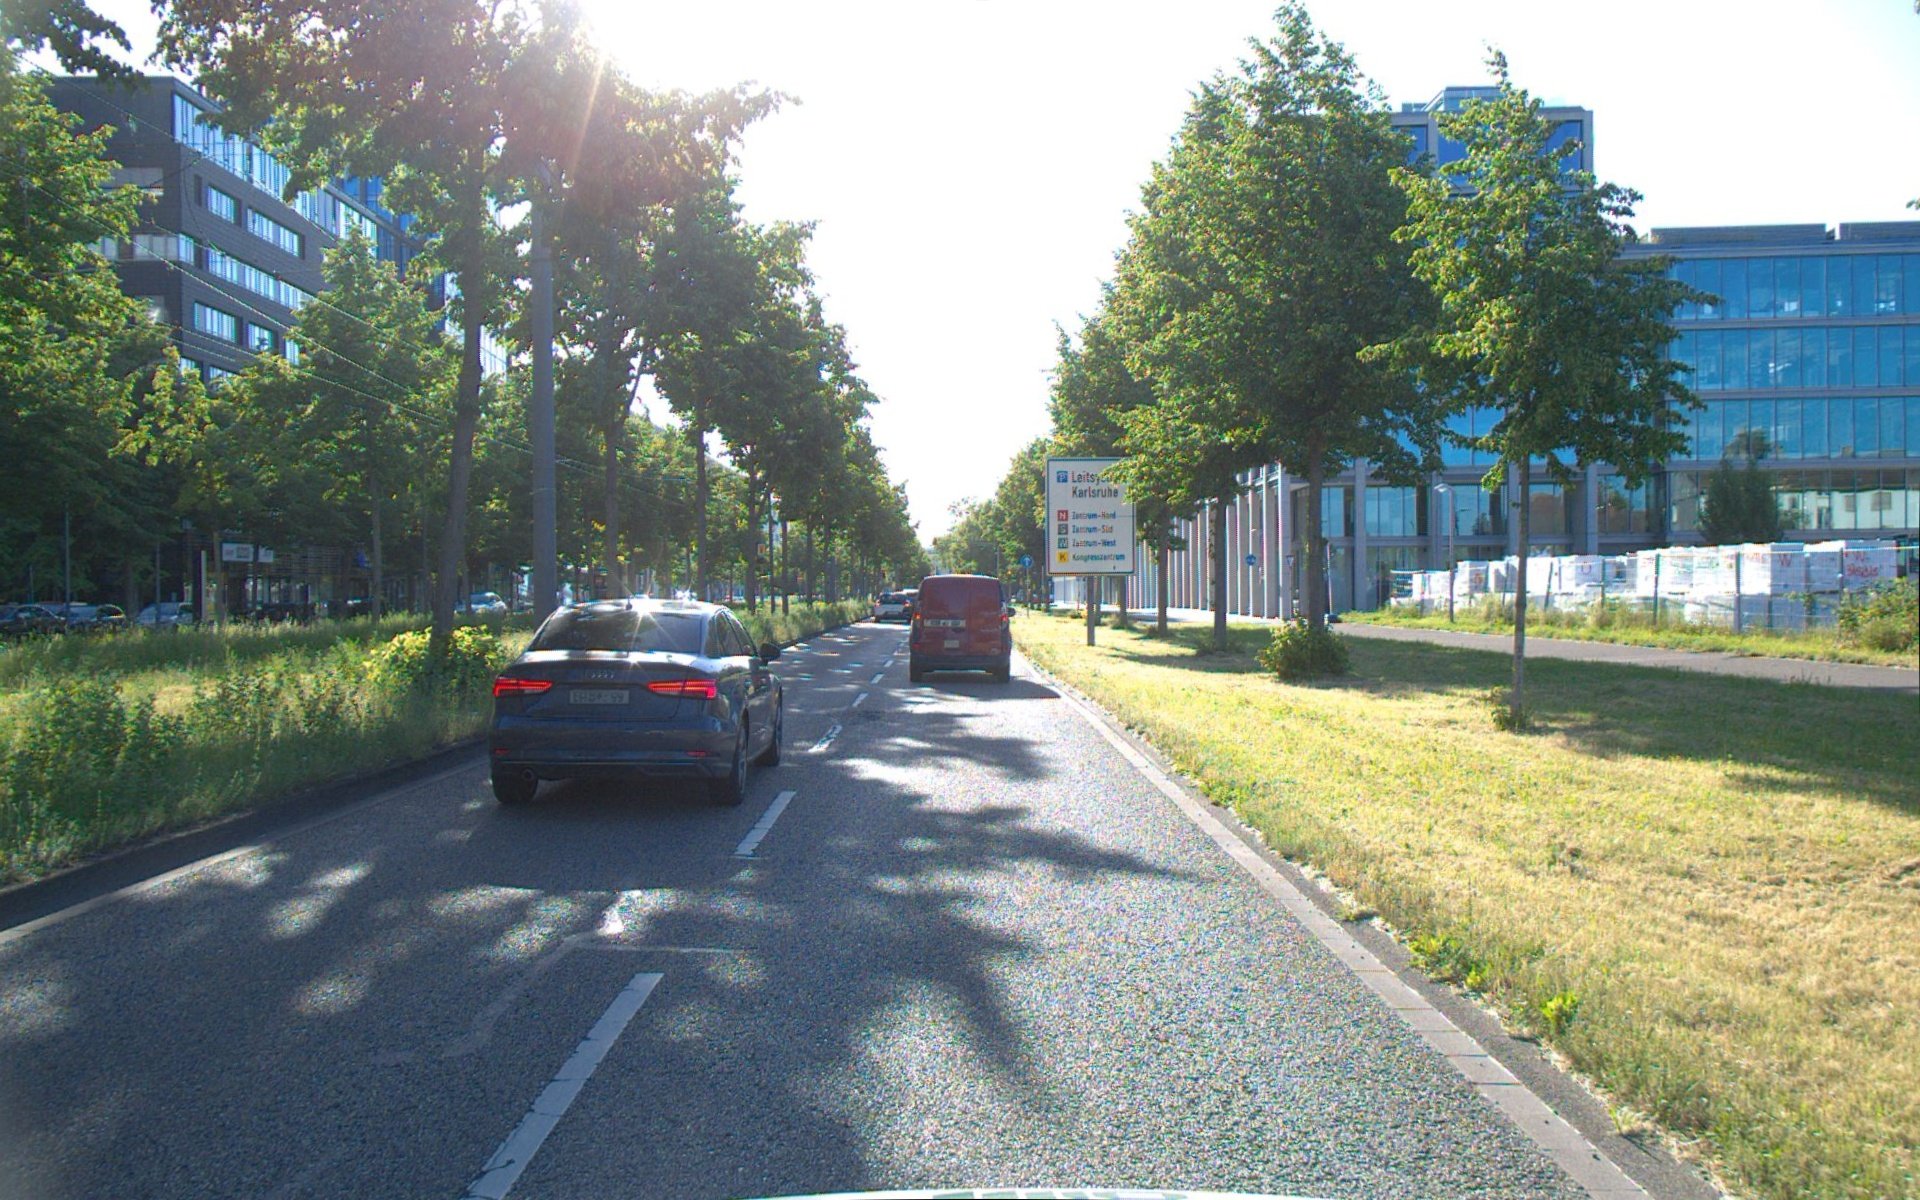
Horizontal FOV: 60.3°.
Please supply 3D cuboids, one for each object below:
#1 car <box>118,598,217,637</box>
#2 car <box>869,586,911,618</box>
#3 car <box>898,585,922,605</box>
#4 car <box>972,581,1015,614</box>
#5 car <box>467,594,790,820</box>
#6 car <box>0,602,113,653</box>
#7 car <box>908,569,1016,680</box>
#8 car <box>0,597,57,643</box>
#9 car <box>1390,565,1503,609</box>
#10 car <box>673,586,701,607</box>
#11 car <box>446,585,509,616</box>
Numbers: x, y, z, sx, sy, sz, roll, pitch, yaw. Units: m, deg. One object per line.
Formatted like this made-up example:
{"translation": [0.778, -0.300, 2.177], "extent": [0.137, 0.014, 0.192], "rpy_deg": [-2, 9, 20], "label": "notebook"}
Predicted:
{"translation": [-31.010, 0.672, 64.862], "extent": [1.680, 1.445, 4.545], "rpy_deg": [-1, 0, 0], "label": "car"}
{"translation": [-3.321, 0.074, 78.513], "extent": [1.903, 1.466, 3.998], "rpy_deg": [-1, 0, -3], "label": "car"}
{"translation": [-4.033, -0.405, 134.070], "extent": [1.805, 1.561, 3.940], "rpy_deg": [-1, 0, 0], "label": "car"}
{"translation": [1.557, -0.125, 78.290], "extent": [1.687, 1.450, 3.814], "rpy_deg": [1, 1, -4], "label": "car"}
{"translation": [-2.320, 0.675, 12.599], "extent": [1.686, 1.390, 4.145], "rpy_deg": [1, 1, -1], "label": "car"}
{"translation": [-35.127, 1.041, 64.395], "extent": [1.761, 1.808, 5.128], "rpy_deg": [1, 1, -2], "label": "car"}
{"translation": [-0.021, 0.394, 29.433], "extent": [1.761, 1.808, 3.999], "rpy_deg": [1, 0, -2], "label": "car"}
{"translation": [-31.565, 0.660, 53.990], "extent": [1.680, 1.445, 4.545], "rpy_deg": [-1, 0, 0], "label": "car"}
{"translation": [23.493, -0.636, 79.954], "extent": [4.959, 2.016, 1.940], "rpy_deg": [-1, 0, 6], "label": "car"}
{"translation": [-23.849, -0.292, 144.678], "extent": [1.761, 1.718, 4.320], "rpy_deg": [1, 1, -1], "label": "car"}
{"translation": [-22.802, 0.008, 78.295], "extent": [1.761, 1.314, 4.310], "rpy_deg": [-1, 1, -1], "label": "car"}
